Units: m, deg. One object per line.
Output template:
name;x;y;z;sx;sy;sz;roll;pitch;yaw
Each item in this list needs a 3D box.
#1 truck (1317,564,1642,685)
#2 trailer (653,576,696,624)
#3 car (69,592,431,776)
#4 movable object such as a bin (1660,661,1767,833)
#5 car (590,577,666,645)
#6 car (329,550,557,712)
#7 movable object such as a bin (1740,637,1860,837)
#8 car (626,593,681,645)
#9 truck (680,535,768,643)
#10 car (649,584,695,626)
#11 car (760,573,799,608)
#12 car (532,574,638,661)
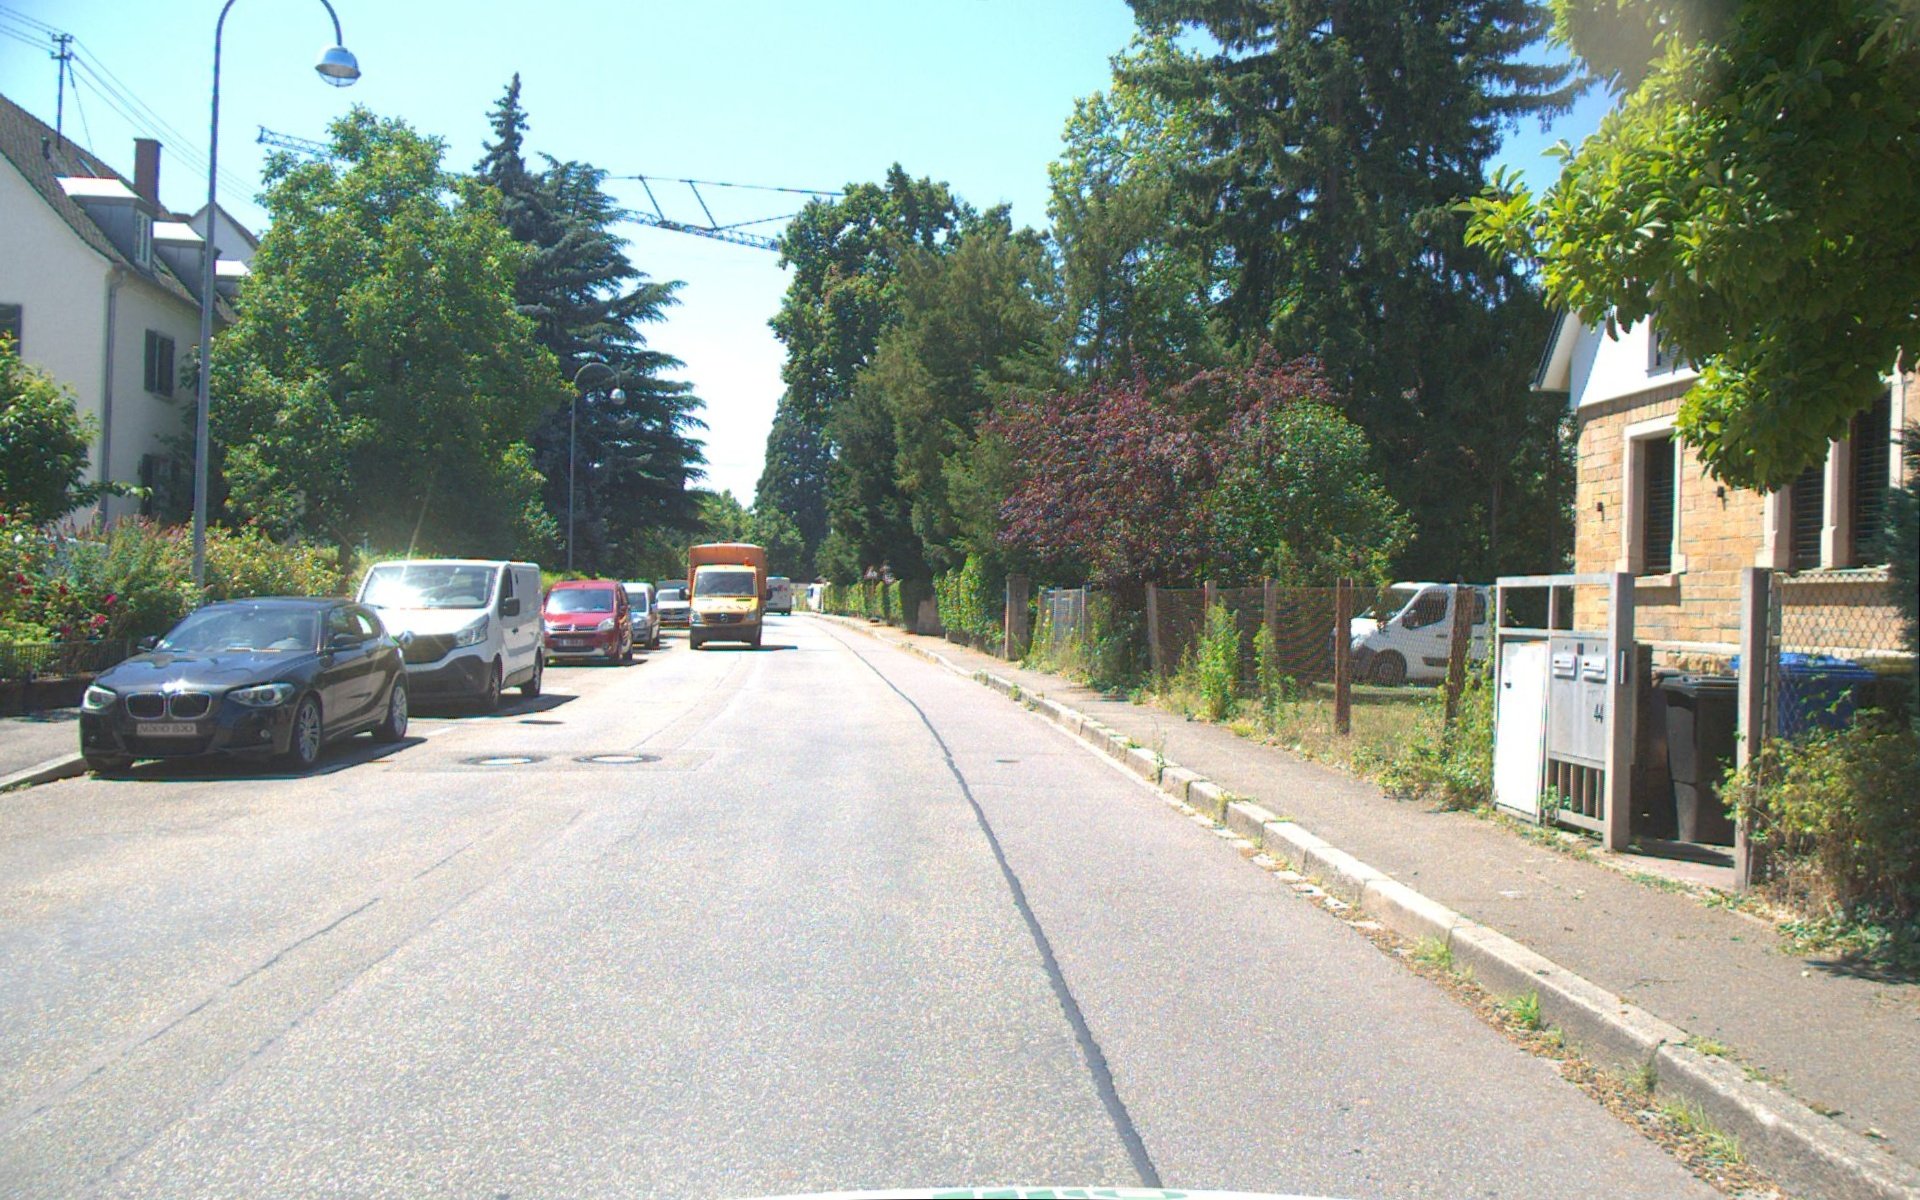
truck;11.259;0.513;35.992;6.488;2.205;1.975;3;1;-9
trailer;-12.783;0.009;74.178;1.813;2.076;4.155;-1;0;-9
car;-6.213;0.644;15.025;1.665;1.408;4.232;-1;0;-3
movable object such as a bin;4.309;0.828;9.473;0.391;0.939;0.463;0;0;-2
car;-9.137;0.281;45.846;1.616;1.782;4.349;0;0;-5
car;-6.790;0.388;22.284;1.849;1.914;4.975;1;0;-5
movable object such as a bin;4.751;0.760;9.369;0.391;1.082;0.546;0;0;-2
car;-9.376;0.567;50.775;1.384;1.529;2.837;-1;0;-5
truck;-6.669;-0.285;47.300;2.328;2.879;5.650;0;0;-7
car;-12.118;0.193;69.794;1.816;1.700;4.703;-1;0;-9
car;-12.606;-0.656;115.203;2.107;2.356;4.836;0;0;-13
car;-8.034;0.336;35.775;1.724;1.757;4.452;0;0;-6
